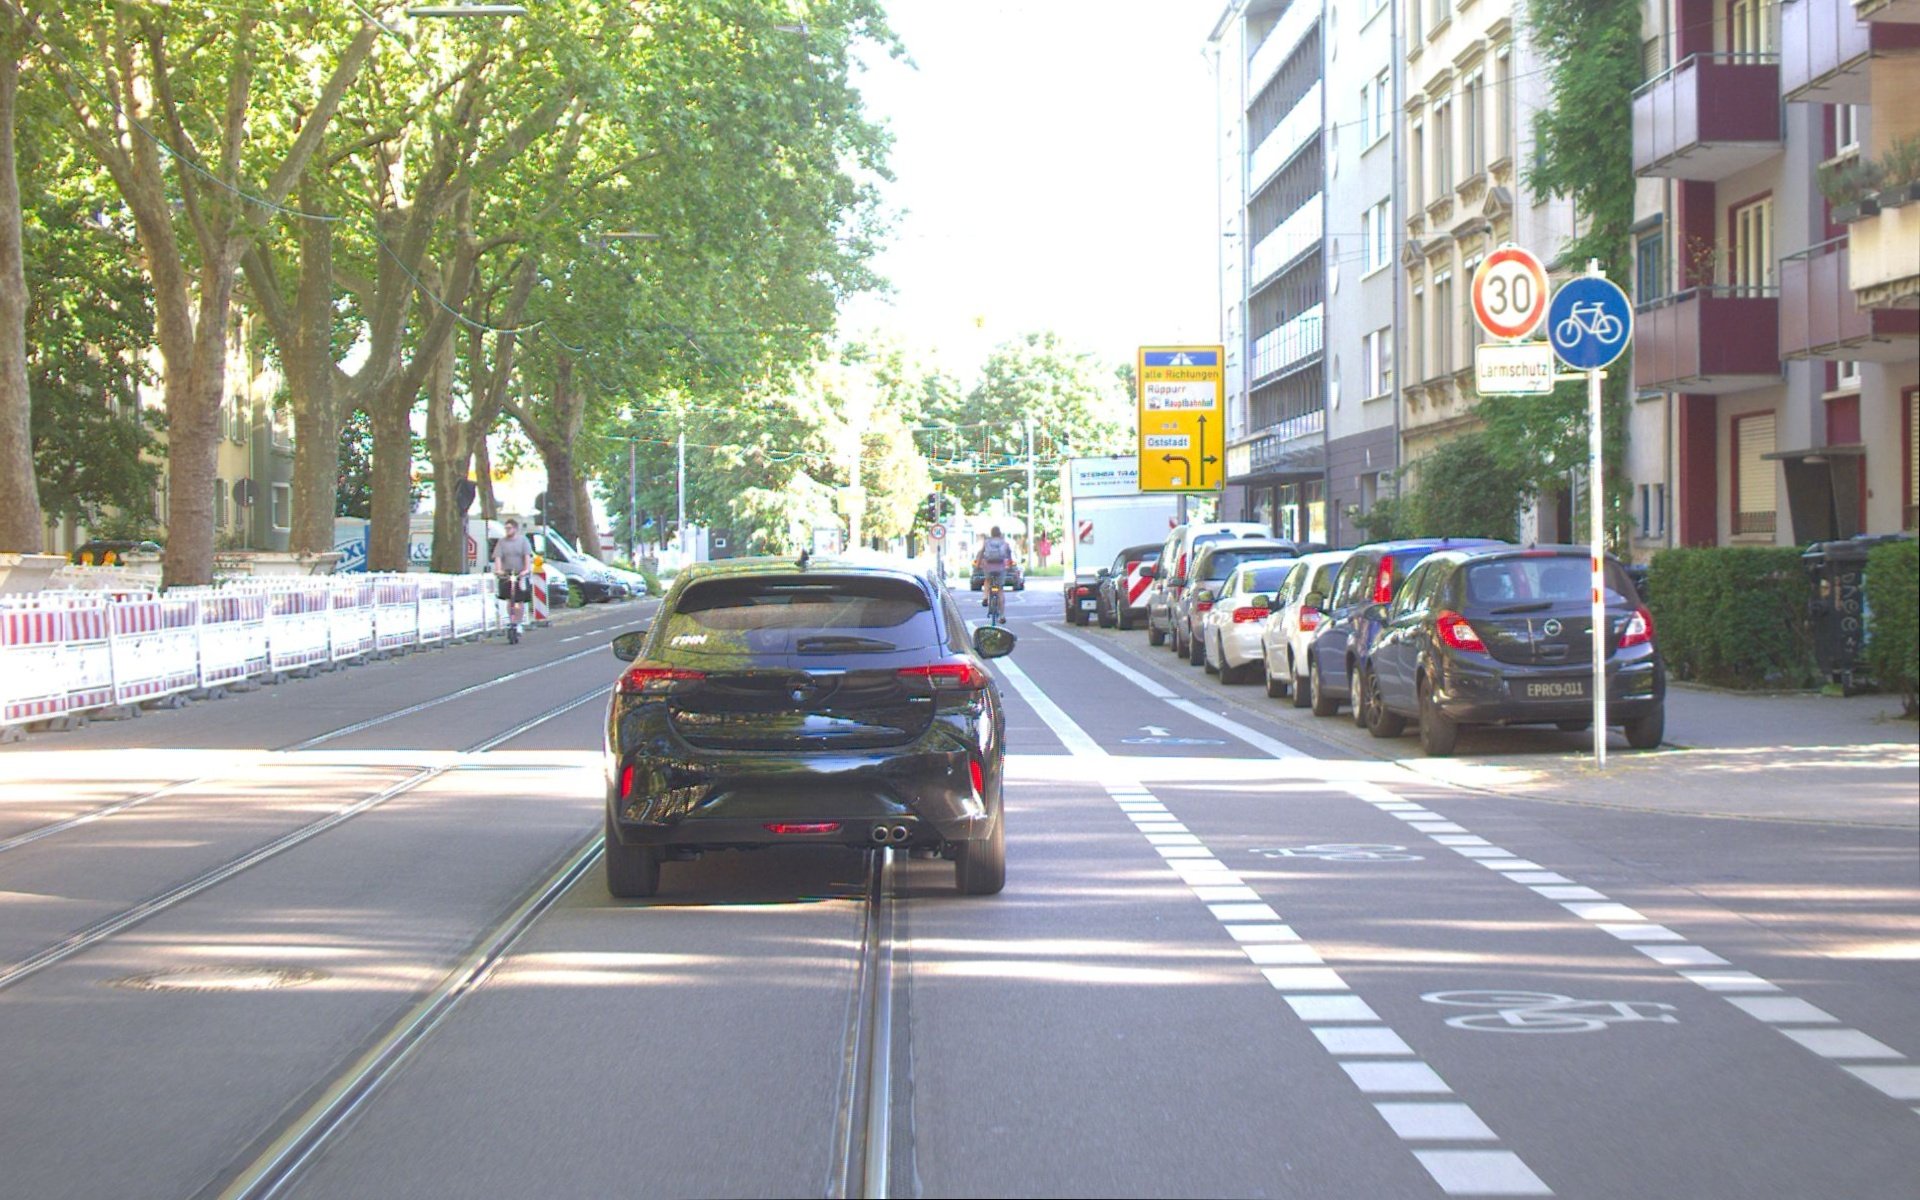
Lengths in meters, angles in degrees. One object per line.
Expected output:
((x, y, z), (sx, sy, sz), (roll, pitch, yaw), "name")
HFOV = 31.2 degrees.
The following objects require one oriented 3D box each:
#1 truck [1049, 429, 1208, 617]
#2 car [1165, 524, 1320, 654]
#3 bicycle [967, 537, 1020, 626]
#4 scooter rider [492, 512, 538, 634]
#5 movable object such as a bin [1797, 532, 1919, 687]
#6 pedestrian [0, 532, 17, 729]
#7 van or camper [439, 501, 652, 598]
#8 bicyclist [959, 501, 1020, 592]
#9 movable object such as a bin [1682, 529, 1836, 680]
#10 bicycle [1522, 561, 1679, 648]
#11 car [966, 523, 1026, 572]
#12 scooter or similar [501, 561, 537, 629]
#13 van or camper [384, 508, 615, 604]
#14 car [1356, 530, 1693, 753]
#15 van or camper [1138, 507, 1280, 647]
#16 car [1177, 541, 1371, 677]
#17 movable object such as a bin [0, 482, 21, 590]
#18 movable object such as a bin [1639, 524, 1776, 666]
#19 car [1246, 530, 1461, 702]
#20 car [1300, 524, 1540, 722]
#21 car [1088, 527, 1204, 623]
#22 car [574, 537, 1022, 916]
((3.193, -1.480, 66.825), (2.538, 3.326, 7.195), (-3, 1, 0), "truck")
((3.633, -0.181, 44.677), (1.660, 1.575, 3.589), (-2, 1, 0), "car")
((0.625, -0.356, 62.693), (0.916, 1.555, 3.405), (0, 1, 1), "bicycle")
((-7.169, -0.441, 55.406), (0.649, 1.950, 0.624), (1, 1, 0), "scooter rider")
((7.946, 0.079, 29.841), (1.152, 1.322, 0.775), (1, 1, 0), "movable object such as a bin")
((-8.464, 0.252, 29.139), (0.716, 1.663, 0.779), (1, 1, 0), "pedestrian")
((-11.679, -1.427, 97.123), (5.723, 2.635, 2.269), (1, 1, 0), "van or camper")
((0.539, -0.977, 62.657), (1.089, 1.641, 1.400), (0, 1, 1), "bicyclist")
((7.222, 0.033, 31.169), (0.967, 1.322, 1.721), (1, 1, 0), "movable object such as a bin")
((8.166, 0.060, 43.852), (1.894, 1.026, 0.476), (-2, 1, 5), "bicycle")
((1.295, -1.931, 126.099), (1.993, 1.690, 4.740), (-2, 1, -1), "car")
((-7.113, -0.089, 55.466), (0.407, 1.079, 1.338), (1, 1, 0), "scooter or similar")
((-11.728, -1.126, 87.772), (5.502, 2.371, 2.269), (1, 1, 3), "van or camper")
((4.103, 0.246, 25.561), (1.733, 1.457, 3.917), (-2, 1, -1), "car")
((3.537, -0.366, 49.506), (1.669, 1.876, 4.211), (-2, 1, 0), "van or camper")
((3.571, 0.053, 39.834), (1.659, 1.394, 4.740), (-2, 1, -1), "car")
((-15.105, -0.986, 52.543), (1.097, 1.640, 1.560), (1, 1, -1), "movable object such as a bin")
((7.152, -0.058, 32.965), (0.923, 1.322, 1.682), (1, 1, 0), "movable object such as a bin")
((3.806, 0.121, 33.752), (1.591, 1.521, 3.835), (-3, 1, 0), "car")
((3.899, 0.161, 29.627), (1.526, 1.584, 3.752), (1, 1, 0), "car")
((3.264, -0.463, 60.876), (1.731, 1.552, 4.152), (-3, 1, 0), "car")
((-0.687, 0.469, 15.690), (1.781, 1.491, 4.000), (0, 1, -1), "car")
